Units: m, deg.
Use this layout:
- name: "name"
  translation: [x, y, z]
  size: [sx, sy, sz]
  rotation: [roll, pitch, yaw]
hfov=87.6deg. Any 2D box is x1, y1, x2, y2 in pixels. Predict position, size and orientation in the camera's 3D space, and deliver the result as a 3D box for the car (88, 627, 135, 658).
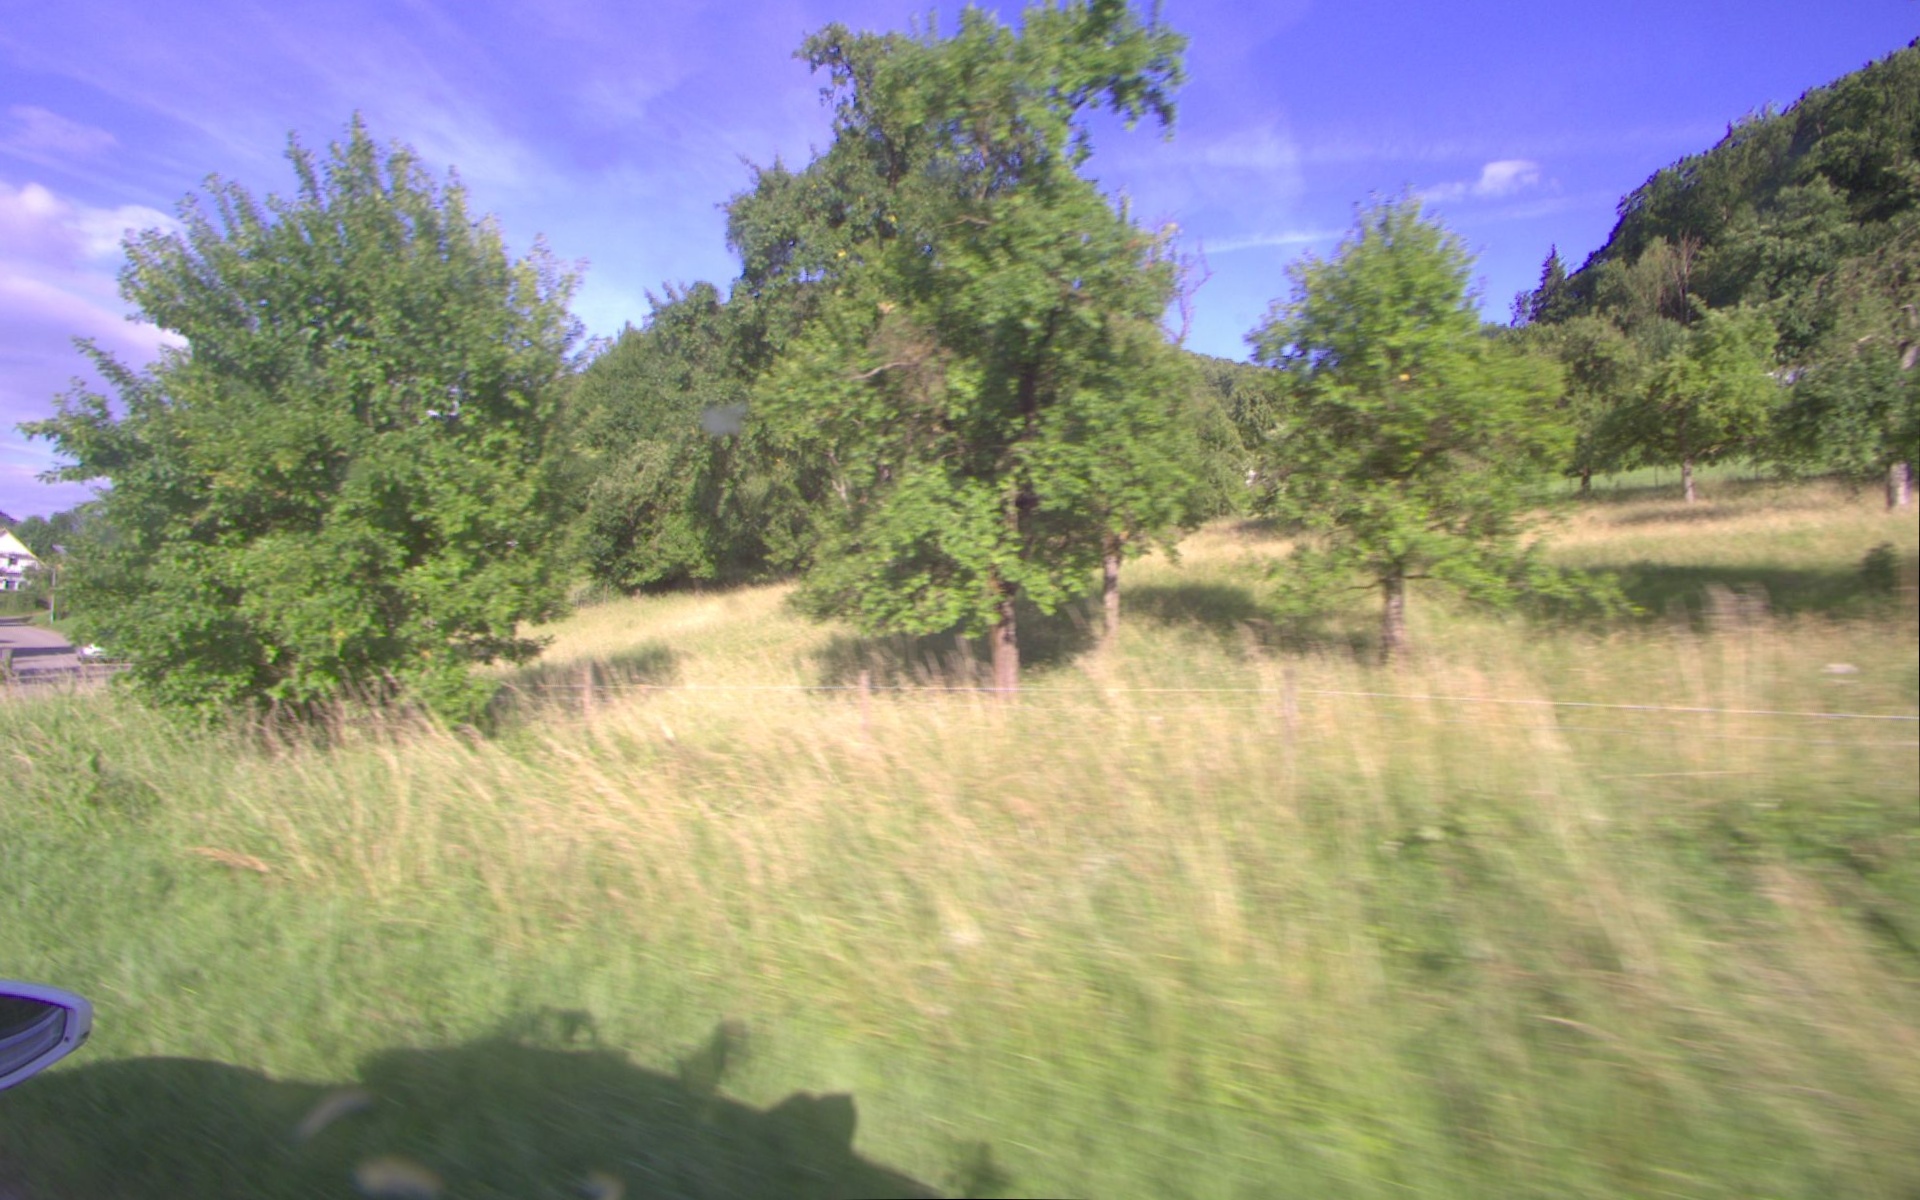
- name: "car"
  translation: [-40.351, 2.019, 47.584]
  size: [1.612, 1.407, 3.965]
  rotation: [1, -3, -42]
